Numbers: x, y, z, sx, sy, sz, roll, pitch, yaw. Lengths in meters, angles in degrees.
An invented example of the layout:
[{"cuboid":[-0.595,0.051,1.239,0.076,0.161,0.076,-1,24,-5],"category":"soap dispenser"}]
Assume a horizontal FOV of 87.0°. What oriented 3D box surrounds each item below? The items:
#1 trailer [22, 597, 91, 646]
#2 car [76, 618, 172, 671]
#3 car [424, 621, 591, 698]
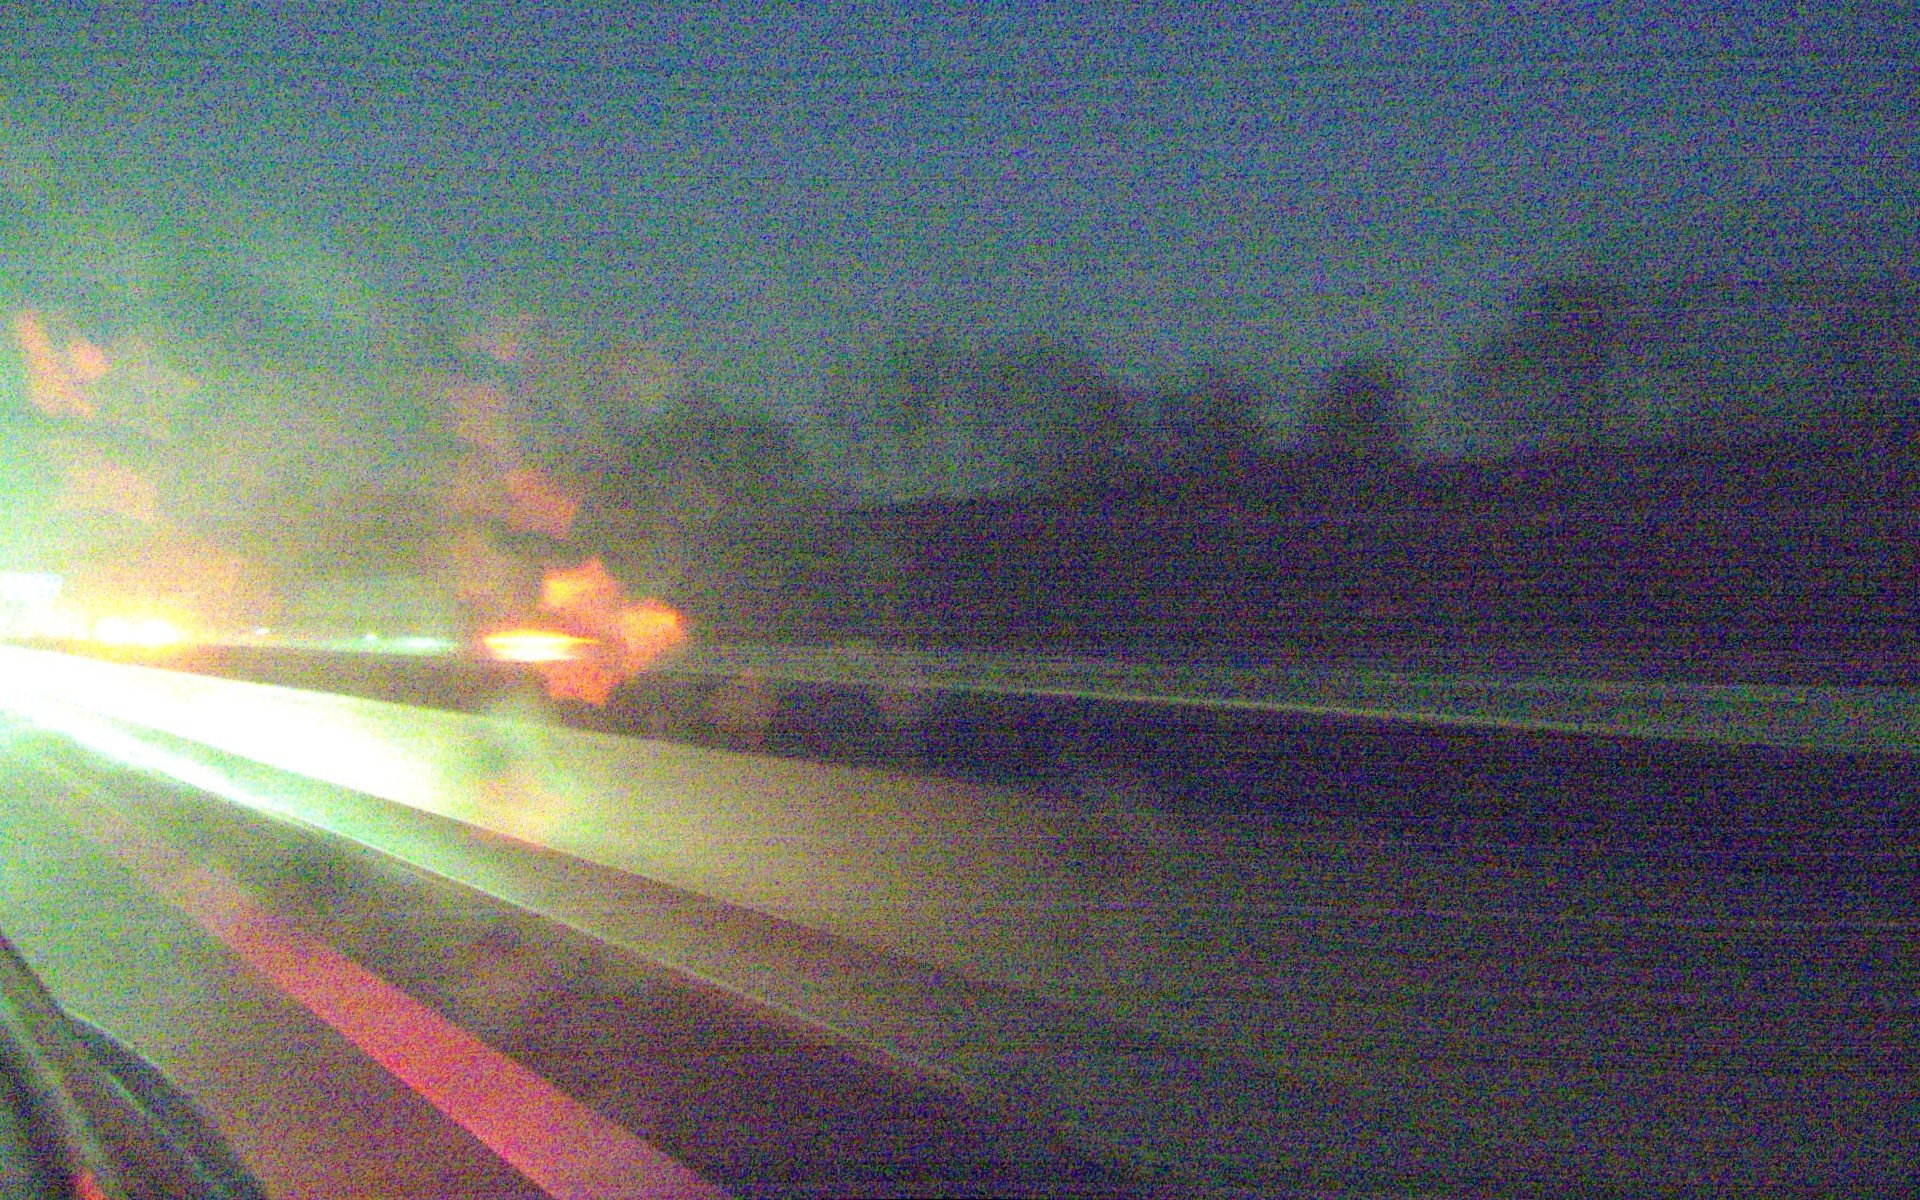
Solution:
[{"cuboid":[-87.882,2.067,98.277,14.855,4.299,2.943,-1,2,41],"category":"trailer"},{"cuboid":[-30.482,1.582,36.867,3.996,1.752,1.974,-1,1,40],"category":"car"},{"cuboid":[-11.987,1.475,26.611,5.233,1.752,1.973,-1,1,41],"category":"car"}]
